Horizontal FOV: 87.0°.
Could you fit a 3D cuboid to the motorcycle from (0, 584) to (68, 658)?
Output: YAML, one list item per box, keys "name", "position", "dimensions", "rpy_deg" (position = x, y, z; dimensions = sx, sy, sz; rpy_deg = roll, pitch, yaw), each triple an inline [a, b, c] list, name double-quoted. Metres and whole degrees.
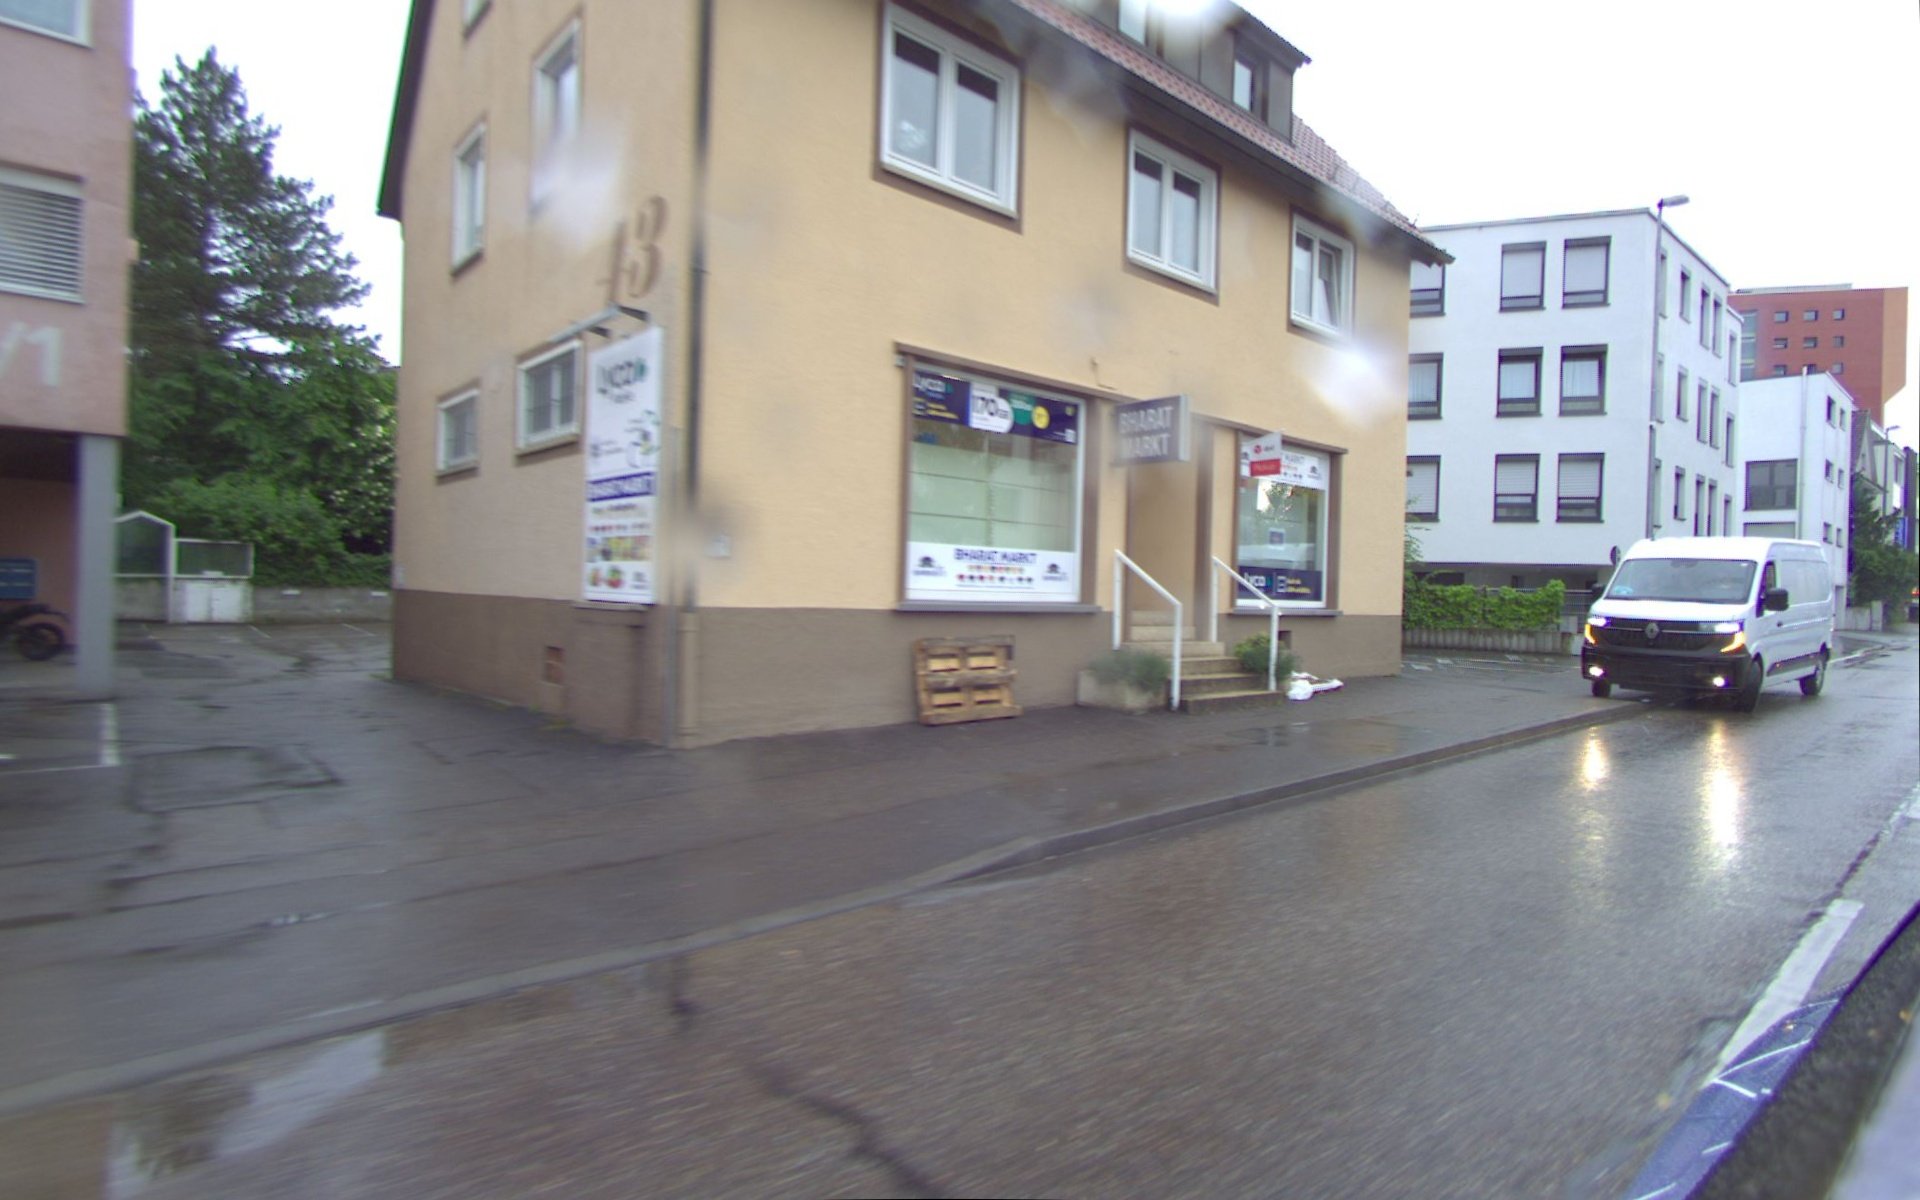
- name: "motorcycle"
  position: [-14.840, 0.319, 15.498]
  dimensions: [0.674, 1.117, 1.627]
  rpy_deg: [1, -1, 25]

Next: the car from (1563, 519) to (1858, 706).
- name: "car"
  position: [12.023, 0.036, 15.975]
  dimensions: [6.509, 2.411, 2.296]
  rpy_deg: [-2, 3, -40]
